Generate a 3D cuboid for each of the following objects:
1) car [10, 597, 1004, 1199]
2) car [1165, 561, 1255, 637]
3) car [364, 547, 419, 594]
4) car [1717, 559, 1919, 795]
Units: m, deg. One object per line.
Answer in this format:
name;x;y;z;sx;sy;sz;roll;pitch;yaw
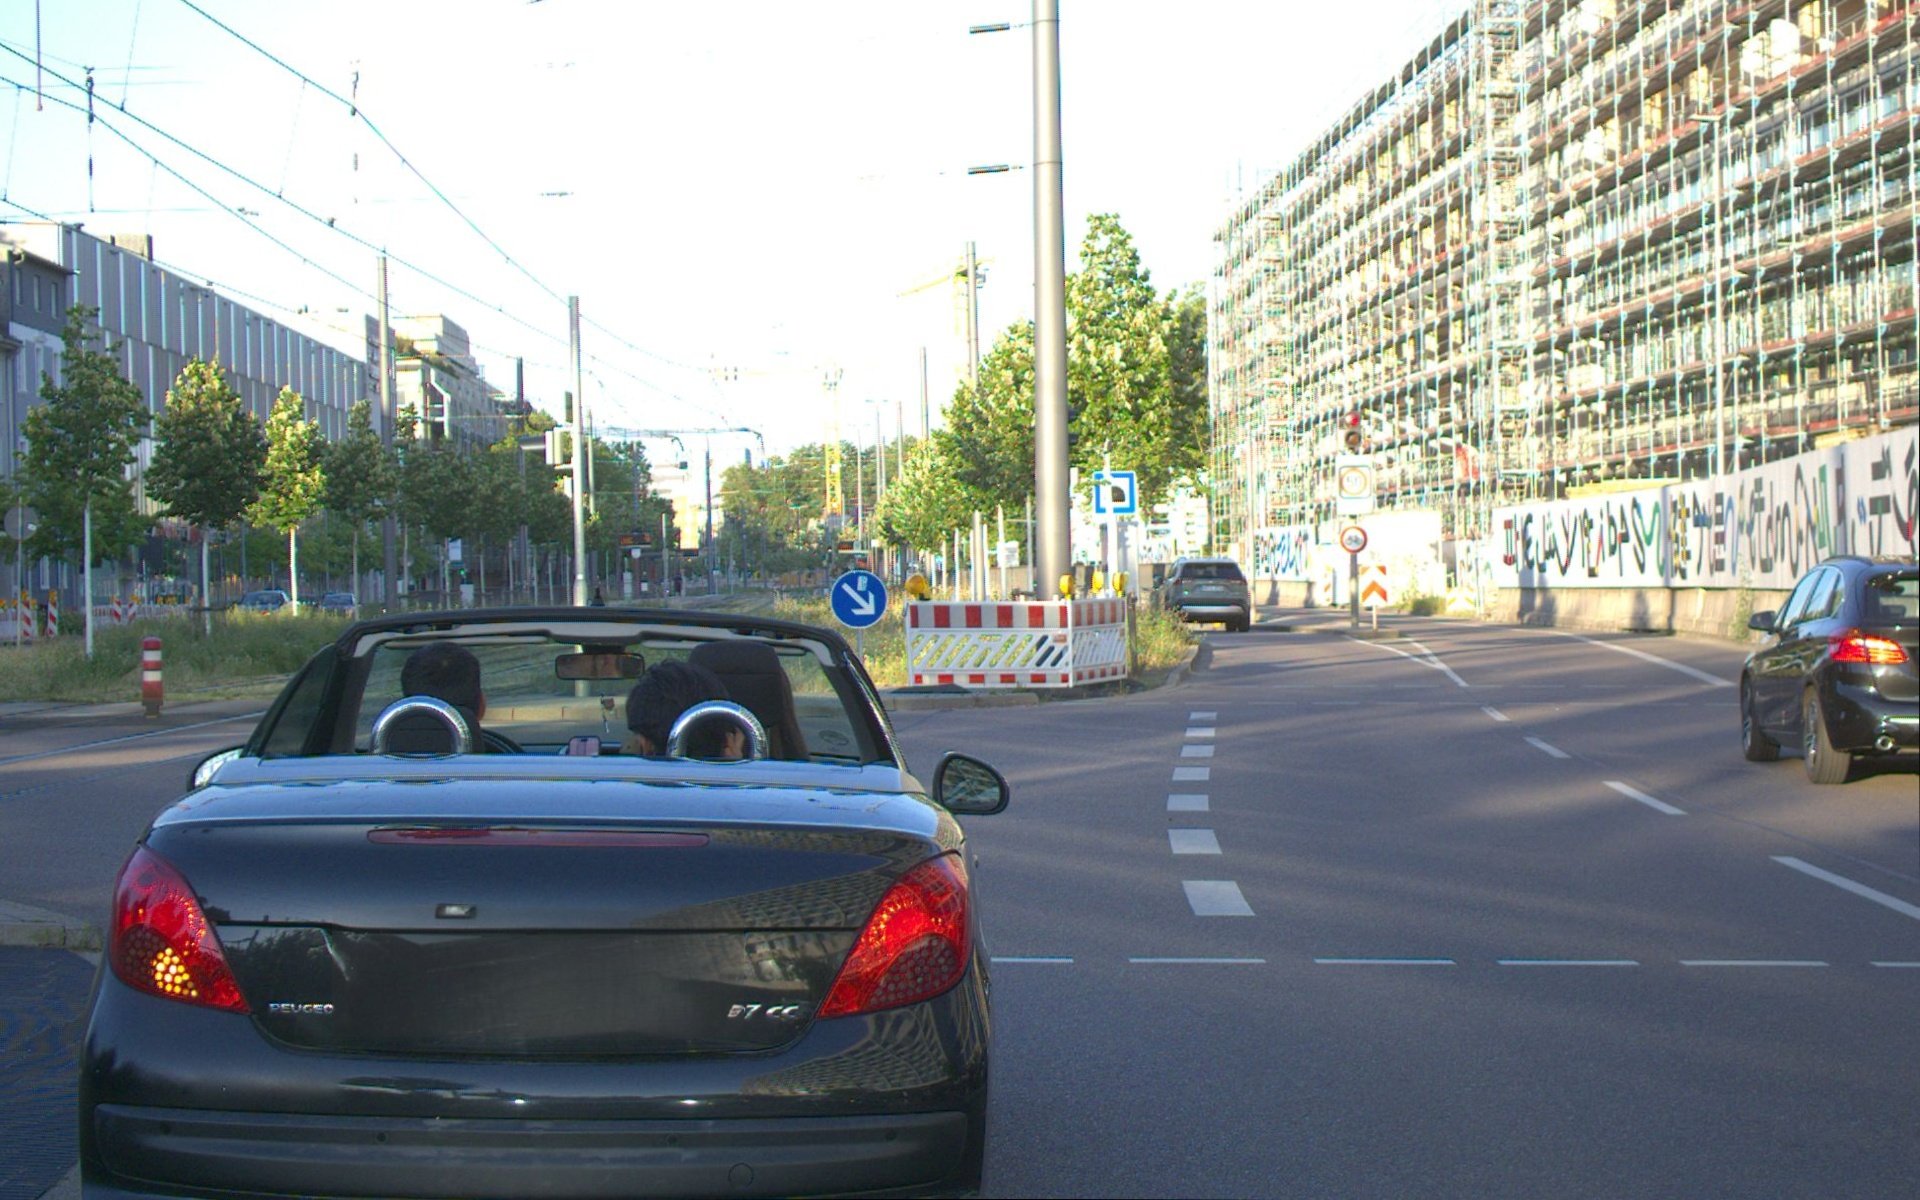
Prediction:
car;-0.827;0.700;7.823;1.674;1.347;4.000;0;1;-2
car;5.636;-0.048;77.883;1.834;1.667;4.282;0;1;1
car;-24.153;-1.263;146.264;1.657;1.957;4.266;1;1;-1
car;6.694;0.474;24.654;1.821;1.513;4.791;0;1;5
